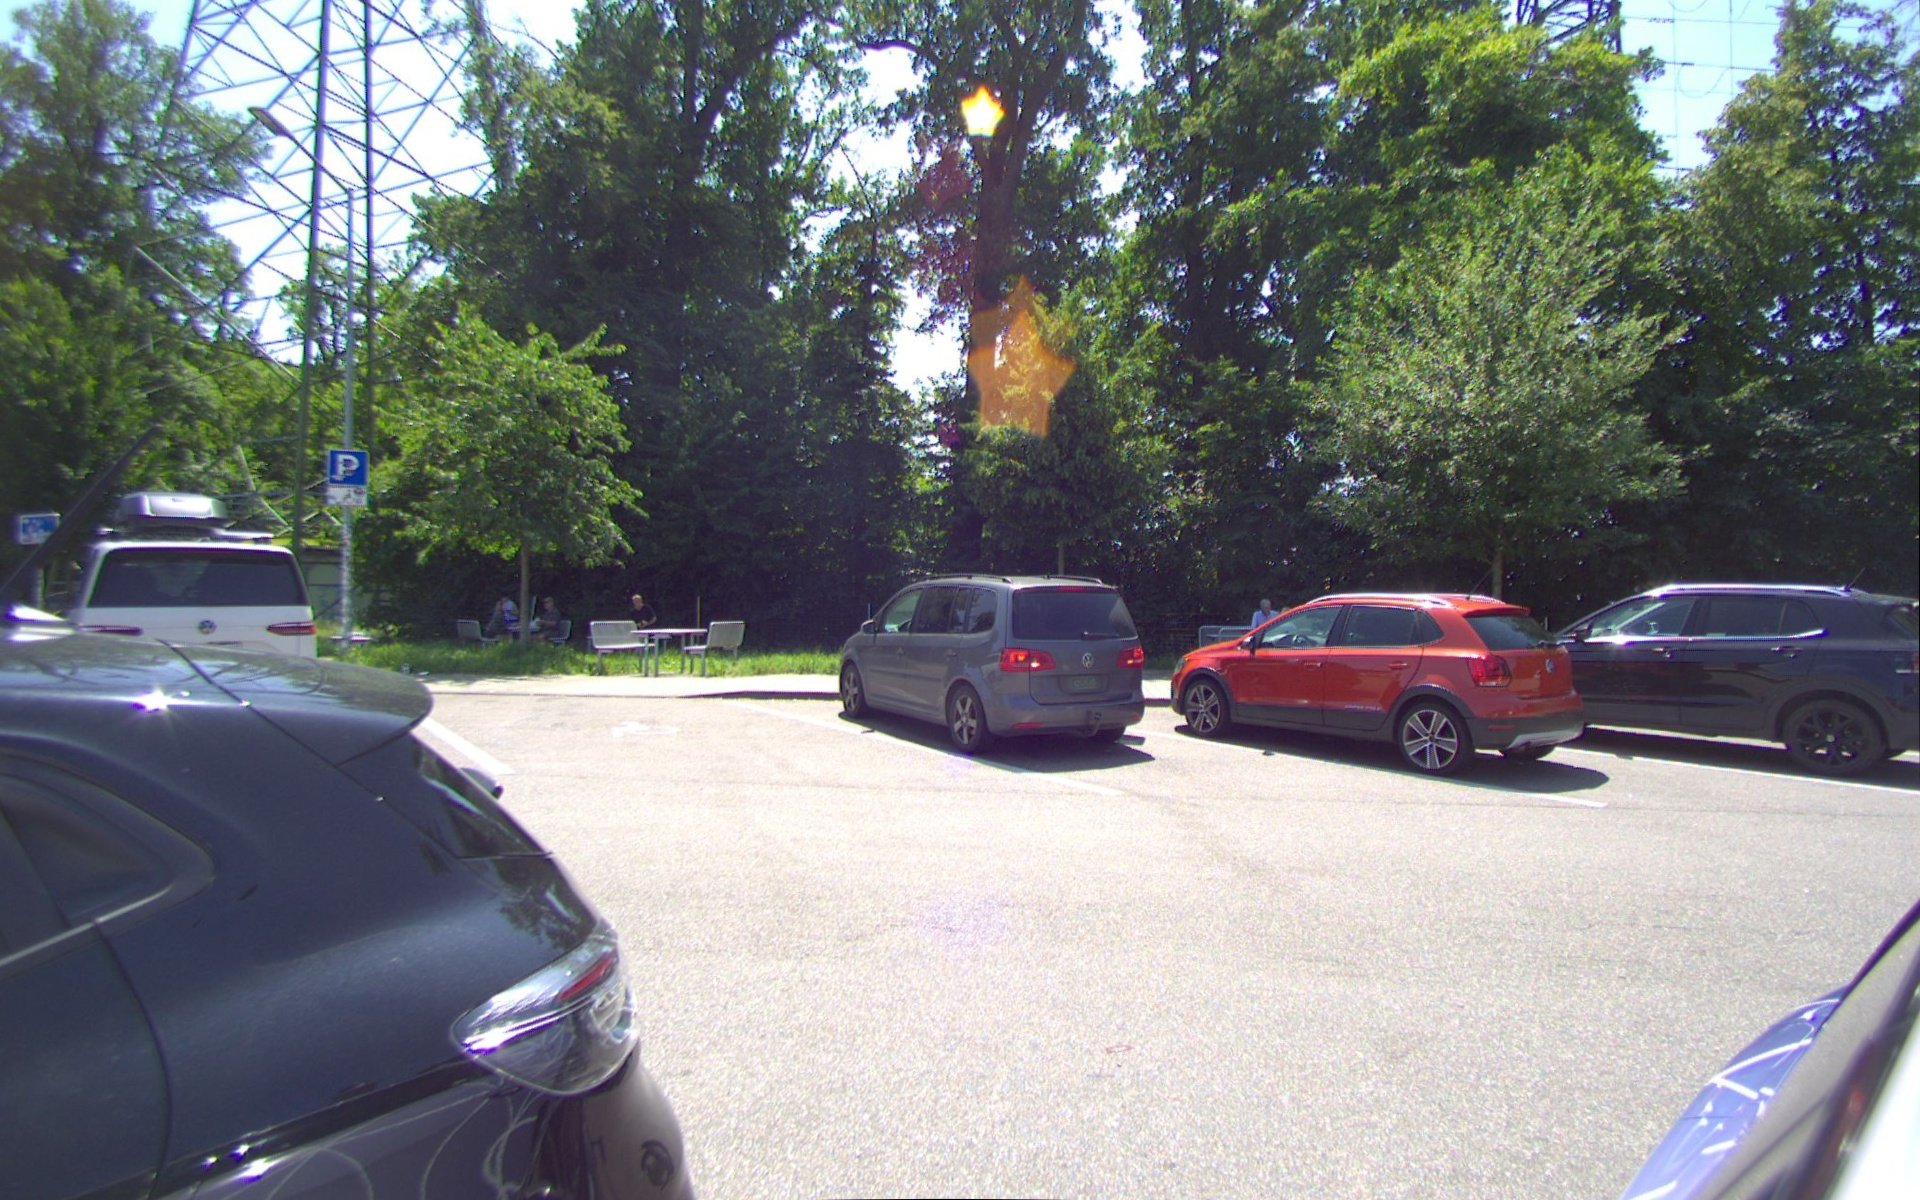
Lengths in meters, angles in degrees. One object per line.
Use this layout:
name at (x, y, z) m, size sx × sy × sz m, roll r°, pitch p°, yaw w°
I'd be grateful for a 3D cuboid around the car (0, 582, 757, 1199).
car at (-2.135, 0.716, 0.579) m, size 1.615 × 1.503 × 3.706 m, roll 0°, pitch -1°, yaw 44°

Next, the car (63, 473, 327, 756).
car at (-8.075, 0.084, 10.617) m, size 1.885 × 2.353 × 4.089 m, roll 0°, pitch 1°, yaw -40°

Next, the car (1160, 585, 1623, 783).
car at (3.851, 0.604, 9.645) m, size 1.604 × 1.476 × 3.810 m, roll 0°, pitch 1°, yaw -34°

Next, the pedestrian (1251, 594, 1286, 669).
pedestrian at (5.792, 0.587, 19.013) m, size 0.495 × 1.393 × 0.491 m, roll 1°, pitch -1°, yaw 0°

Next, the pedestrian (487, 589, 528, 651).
pedestrian at (-10.958, 0.482, 24.505) m, size 0.722 × 1.478 × 0.669 m, roll 1°, pitch -1°, yaw -39°

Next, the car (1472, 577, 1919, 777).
car at (7.230, 0.575, 9.669) m, size 1.727 × 1.566 × 3.806 m, roll 0°, pitch 1°, yaw -39°

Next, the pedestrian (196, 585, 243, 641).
pedestrian at (-18.647, 0.320, 25.492) m, size 0.598 × 1.391 × 0.706 m, roll 1°, pitch -1°, yaw 14°

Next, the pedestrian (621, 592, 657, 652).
pedestrian at (-6.755, 0.457, 21.294) m, size 0.550 × 1.229 × 0.599 m, roll 1°, pitch -1°, yaw -1°

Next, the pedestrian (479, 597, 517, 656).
pedestrian at (-10.445, 0.590, 22.871) m, size 0.630 × 1.287 × 0.579 m, roll 1°, pitch -1°, yaw -39°

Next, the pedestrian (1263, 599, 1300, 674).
pedestrian at (5.677, 0.637, 17.890) m, size 0.495 × 1.316 × 0.491 m, roll 1°, pitch -1°, yaw 0°

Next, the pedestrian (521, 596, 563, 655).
pedestrian at (-9.726, 0.574, 23.568) m, size 0.722 × 1.343 × 0.669 m, roll 1°, pitch -1°, yaw -39°

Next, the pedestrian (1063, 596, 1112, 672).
pedestrian at (2.113, 0.572, 16.851) m, size 0.660 × 1.235 × 0.682 m, roll 1°, pitch -2°, yaw -5°

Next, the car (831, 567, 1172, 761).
car at (0.215, 0.498, 10.547) m, size 1.717 × 1.611 × 3.961 m, roll 0°, pitch 1°, yaw -30°
